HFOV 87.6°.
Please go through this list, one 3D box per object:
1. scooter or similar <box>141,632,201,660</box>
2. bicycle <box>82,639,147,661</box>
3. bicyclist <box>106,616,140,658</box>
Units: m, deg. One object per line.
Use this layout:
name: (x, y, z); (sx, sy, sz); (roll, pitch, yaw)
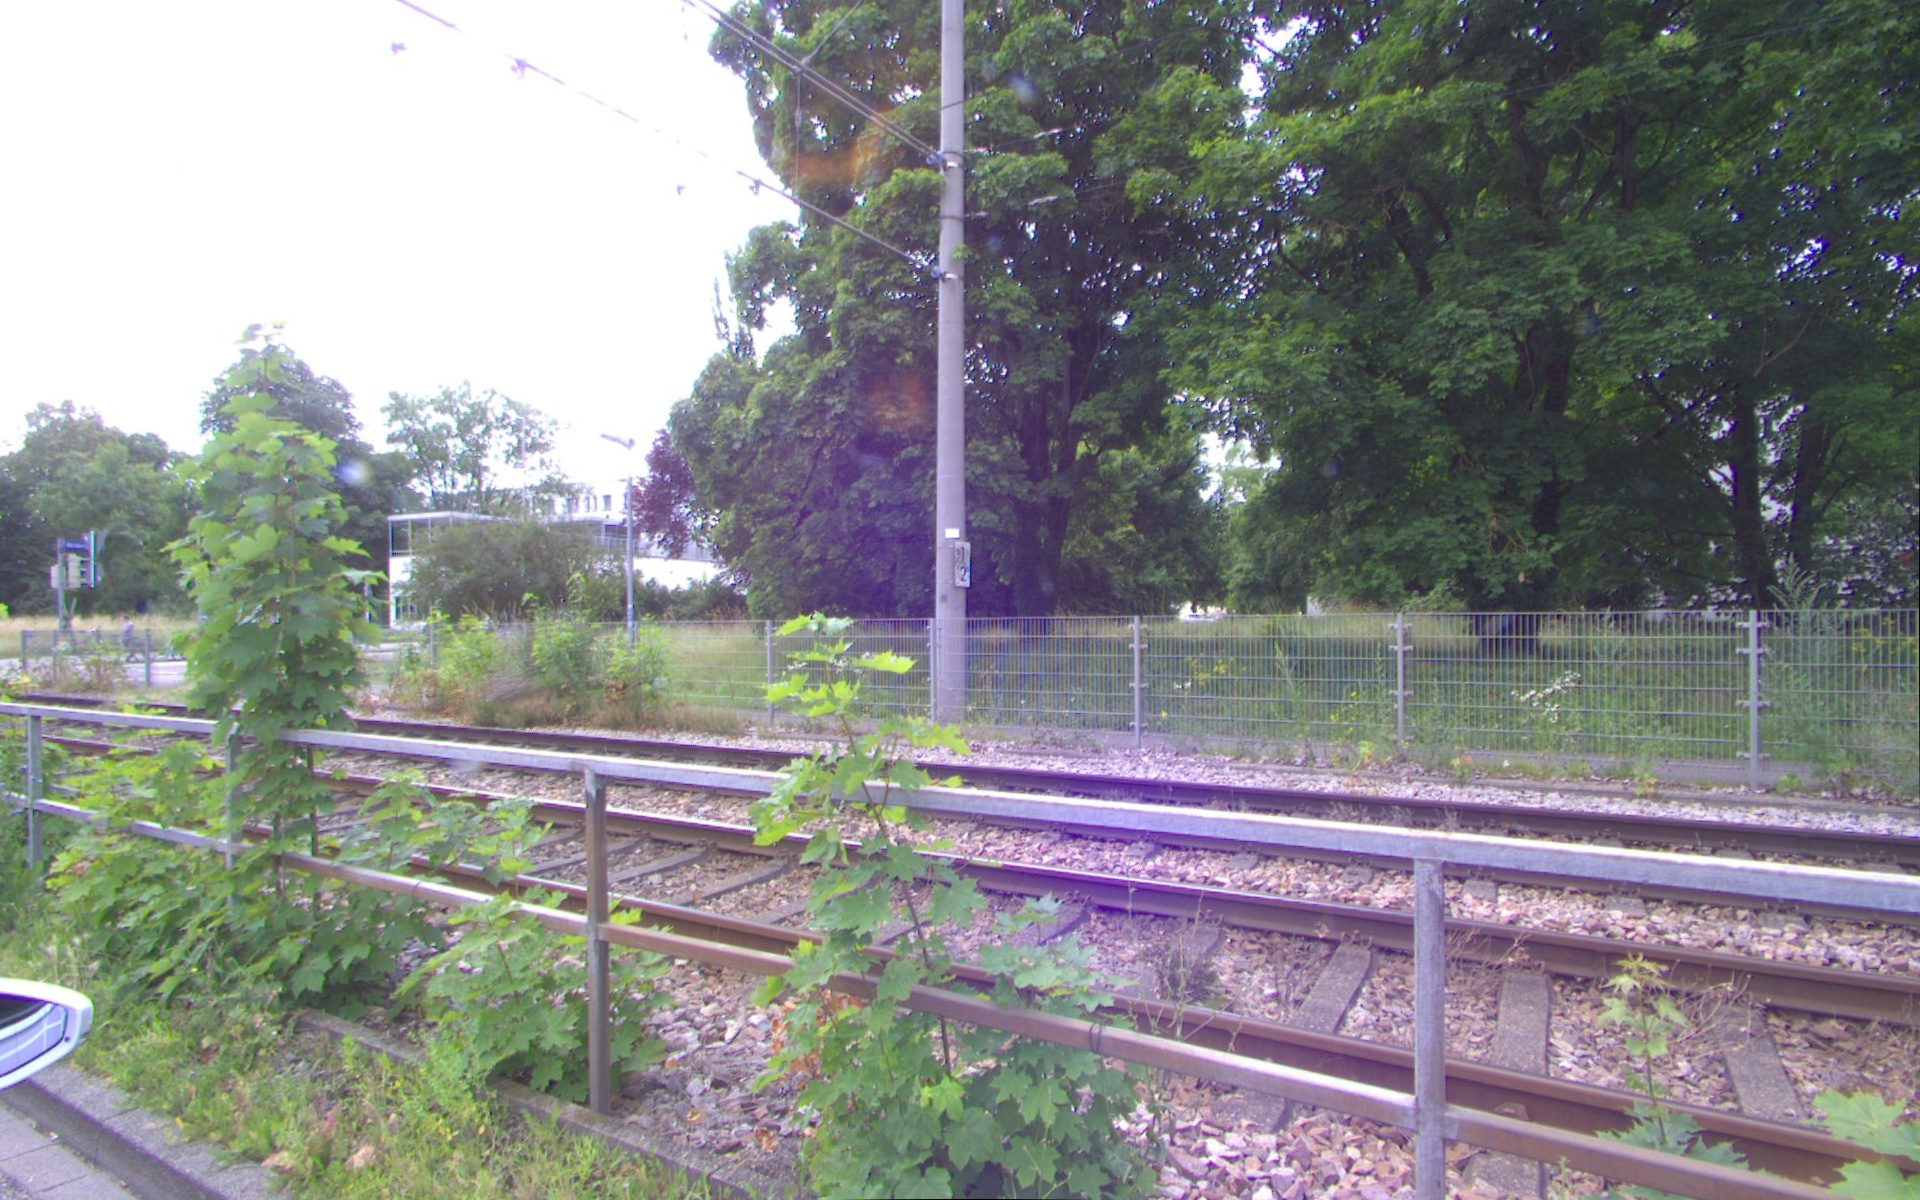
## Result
scooter or similar: (-29.670, 1.721, 37.673); (0.949, 0.992, 1.570); (-1, 0, 34)
bicycle: (-30.610, 1.810, 36.273); (0.548, 0.775, 1.718); (-1, -2, 34)
bicyclist: (-30.463, 1.349, 36.458); (0.449, 1.495, 0.837); (-1, 0, 34)
